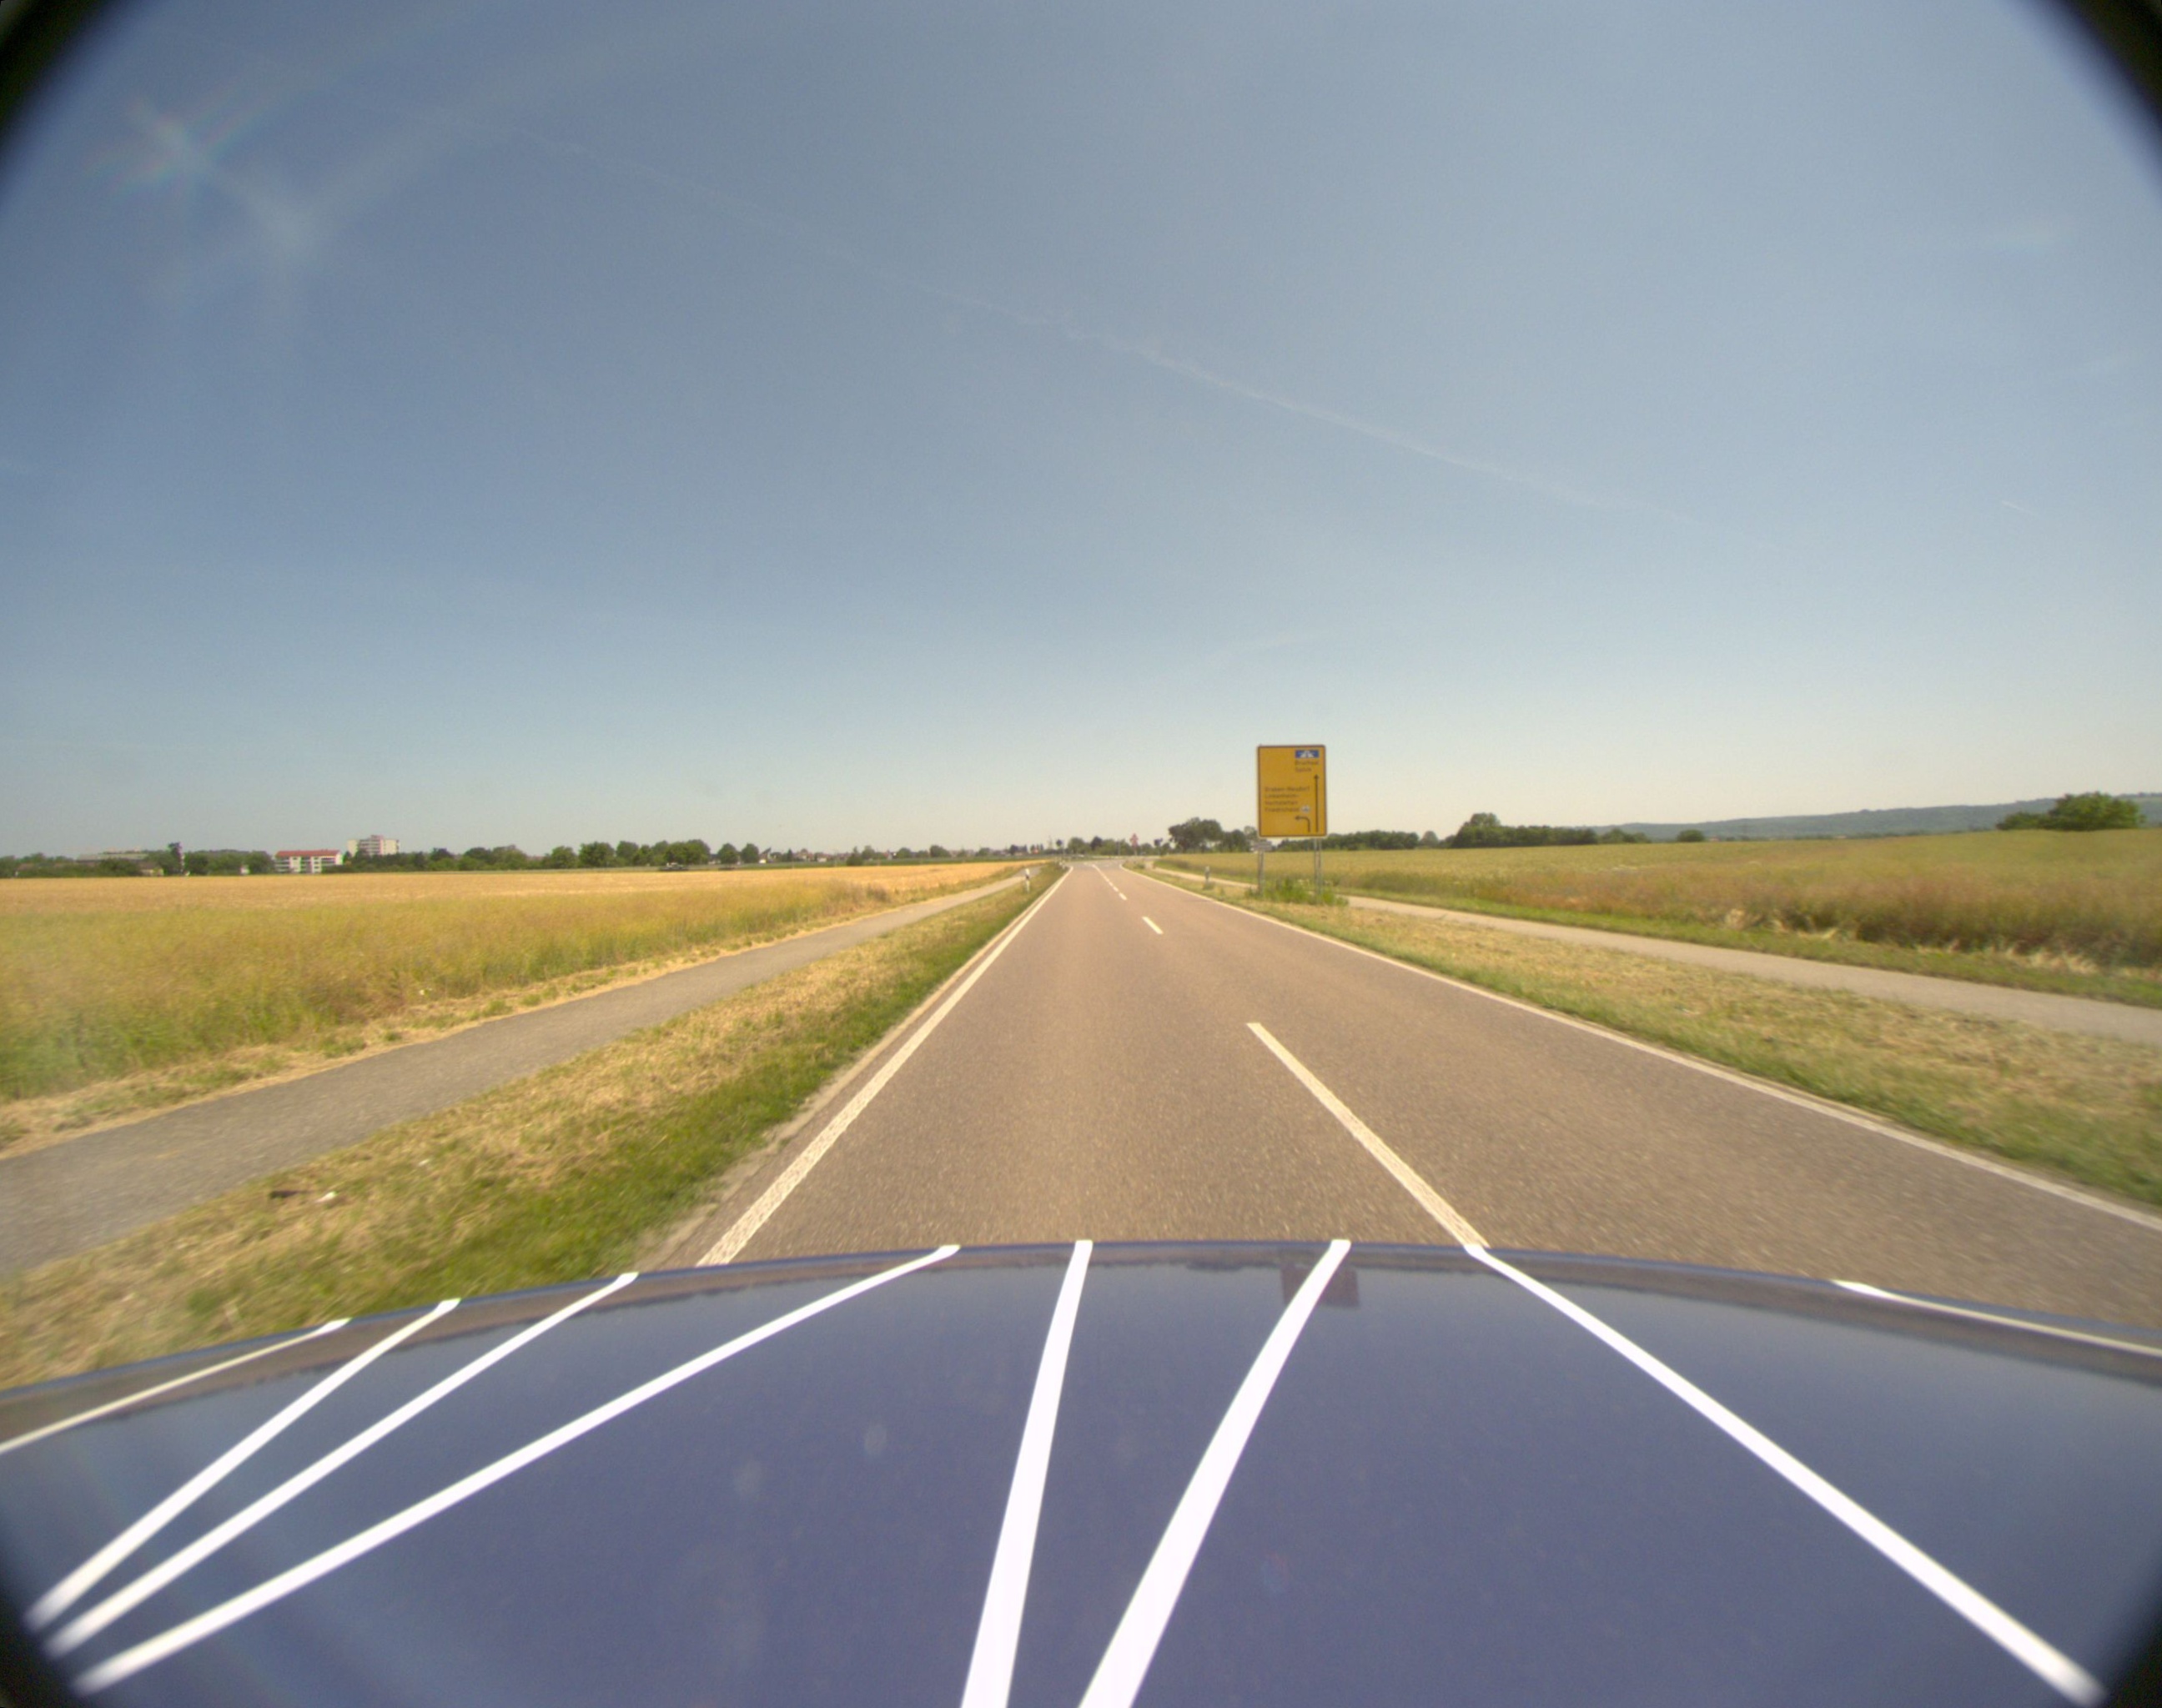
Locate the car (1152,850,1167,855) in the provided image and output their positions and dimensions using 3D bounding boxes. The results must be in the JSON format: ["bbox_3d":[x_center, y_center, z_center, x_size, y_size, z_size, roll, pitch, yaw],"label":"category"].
[{"bbox_3d":[25.766,-0.535,248.830,4.528,1.631,1.812,-1,2,-12],"label":"car"}]
